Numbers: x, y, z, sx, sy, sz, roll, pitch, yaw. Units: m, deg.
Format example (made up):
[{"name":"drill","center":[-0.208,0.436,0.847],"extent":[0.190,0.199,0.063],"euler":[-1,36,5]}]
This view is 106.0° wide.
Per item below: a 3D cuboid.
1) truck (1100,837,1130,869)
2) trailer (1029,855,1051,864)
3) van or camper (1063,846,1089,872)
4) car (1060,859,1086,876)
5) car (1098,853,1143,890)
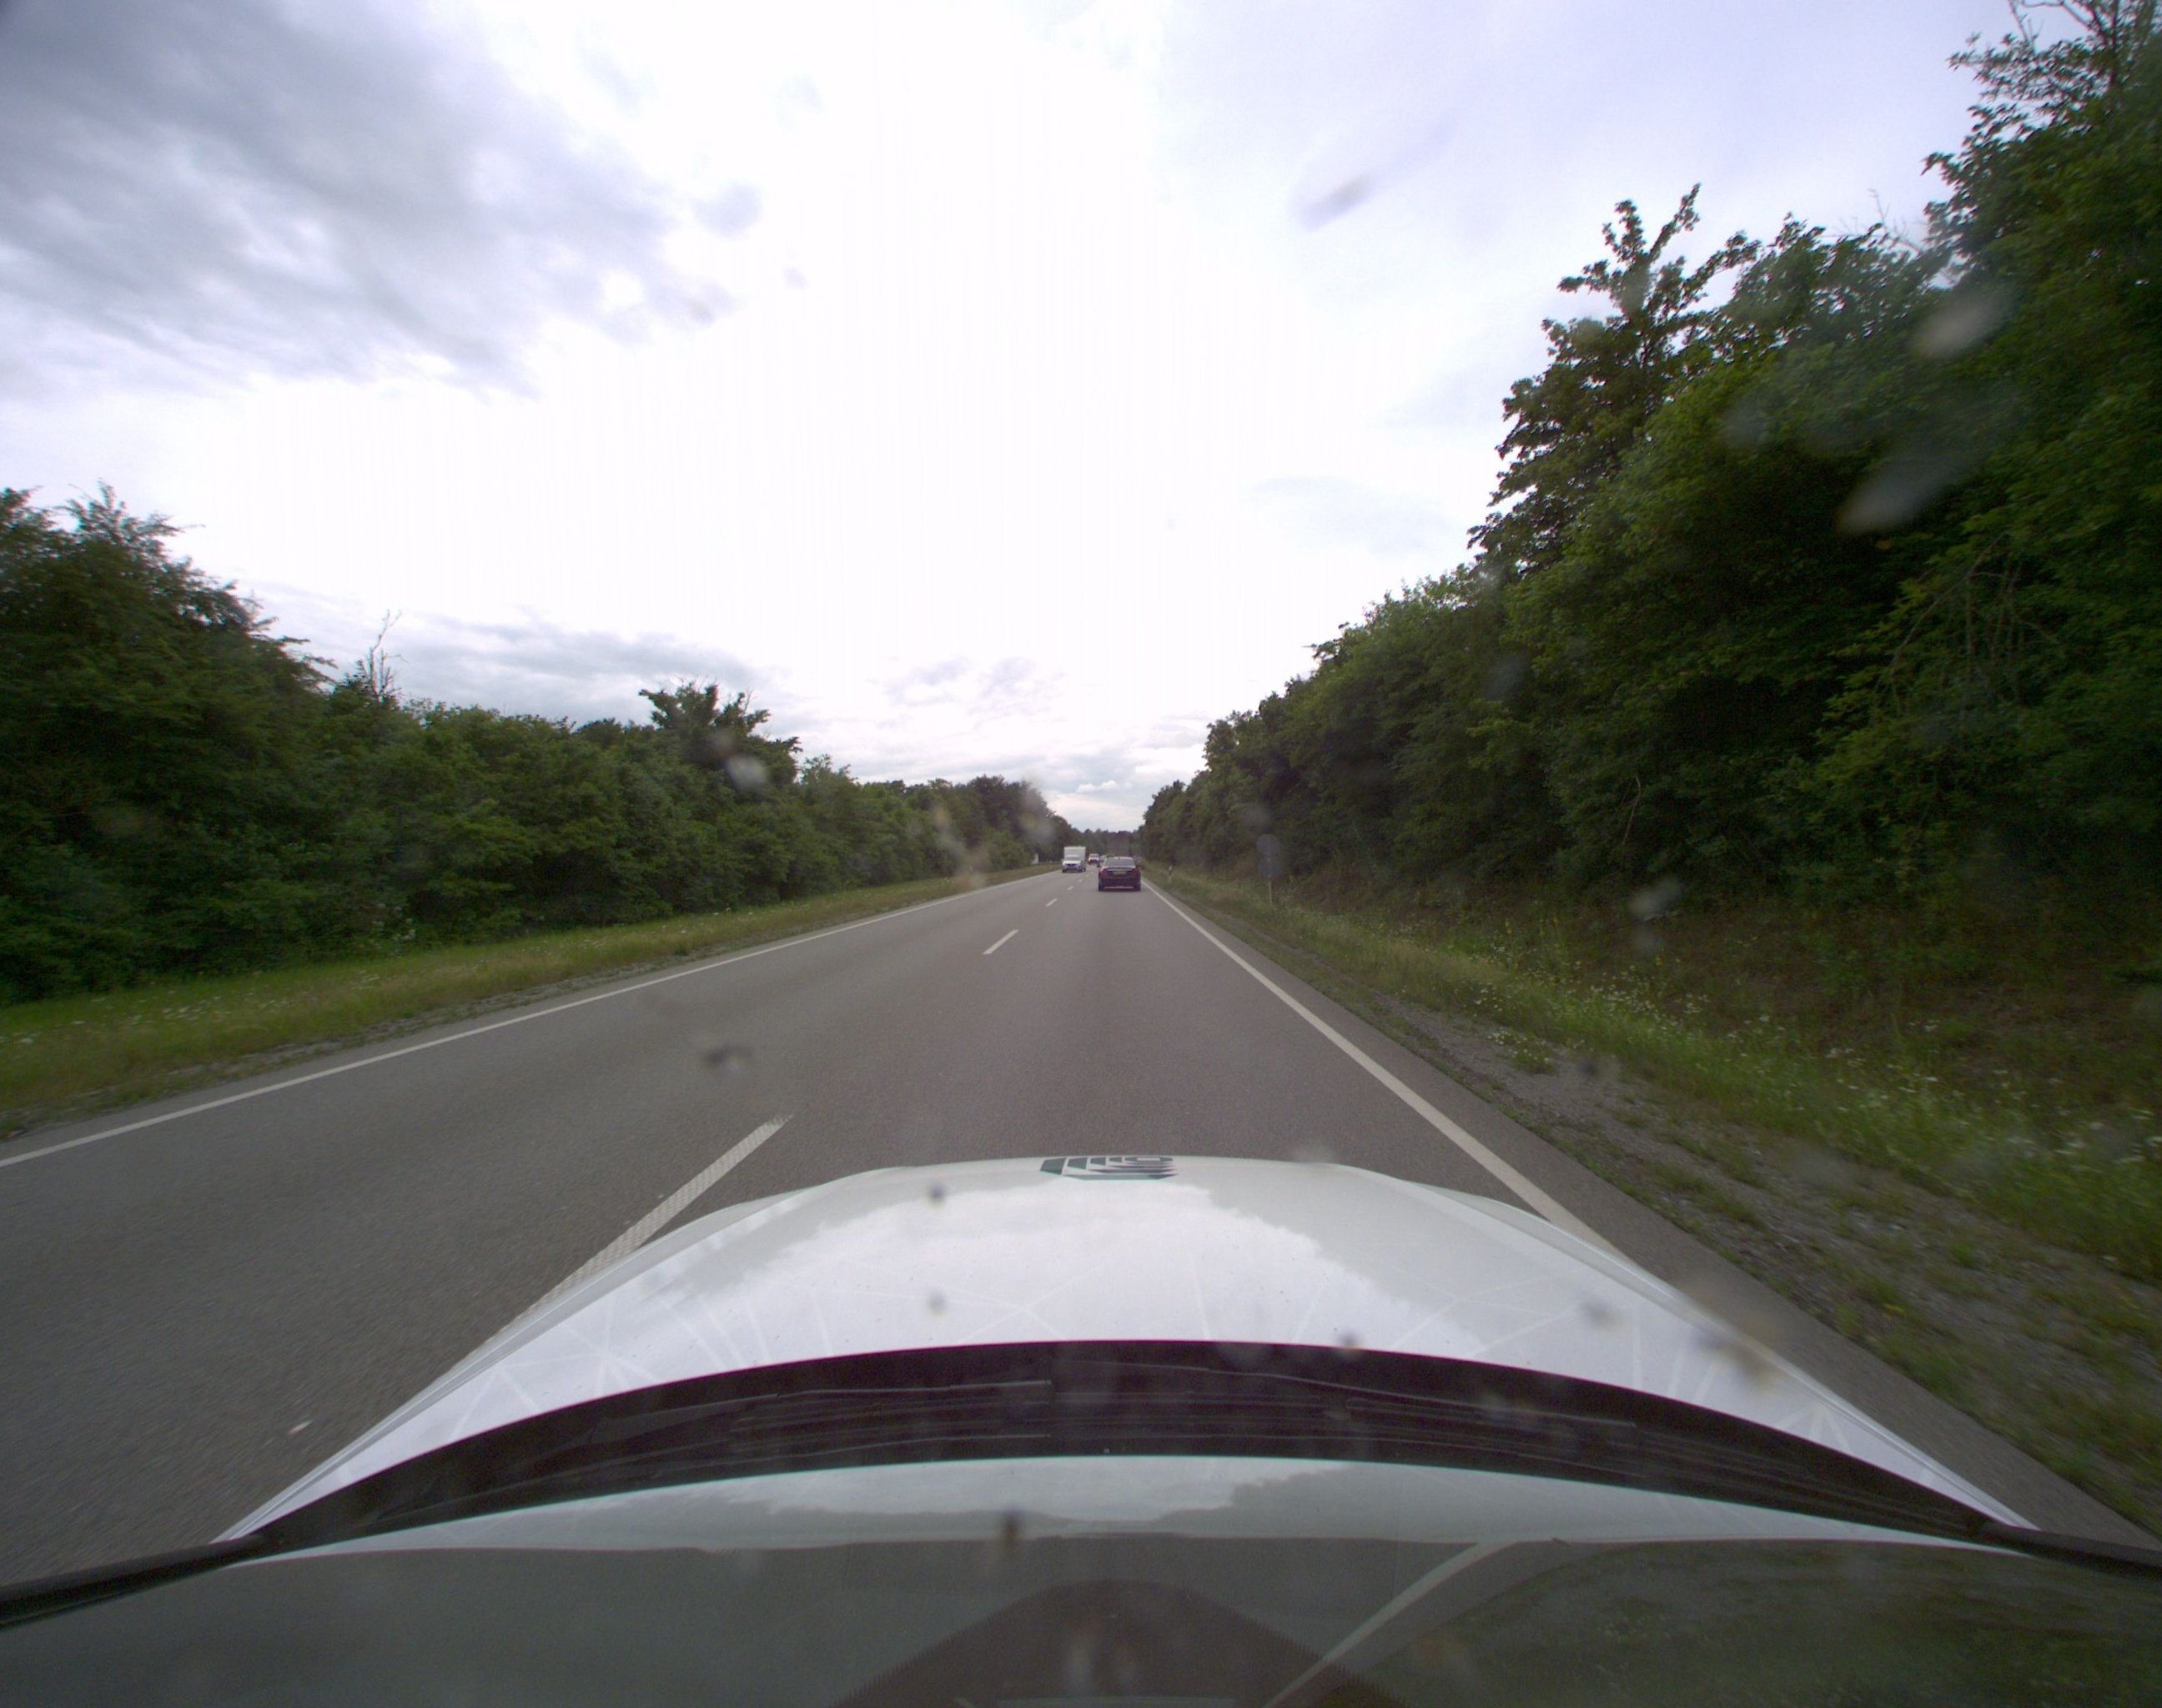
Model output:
[{"name":"truck","center":[4.205,-0.108,97.027],"extent":[3.267,3.611,11.411],"euler":[0,0,4]},{"name":"trailer","center":[-9.138,1.313,181.991],"extent":[1.974,2.014,5.155],"euler":[-1,-1,35]},{"name":"van or camper","center":[-0.490,0.525,83.694],"extent":[2.371,2.575,6.282],"euler":[0,0,2]},{"name":"car","center":[-0.688,1.248,78.055],"extent":[2.270,1.603,4.694],"euler":[0,0,2]},{"name":"car","center":[1.695,0.747,36.056],"extent":[1.786,1.552,3.999],"euler":[0,0,0]}]
